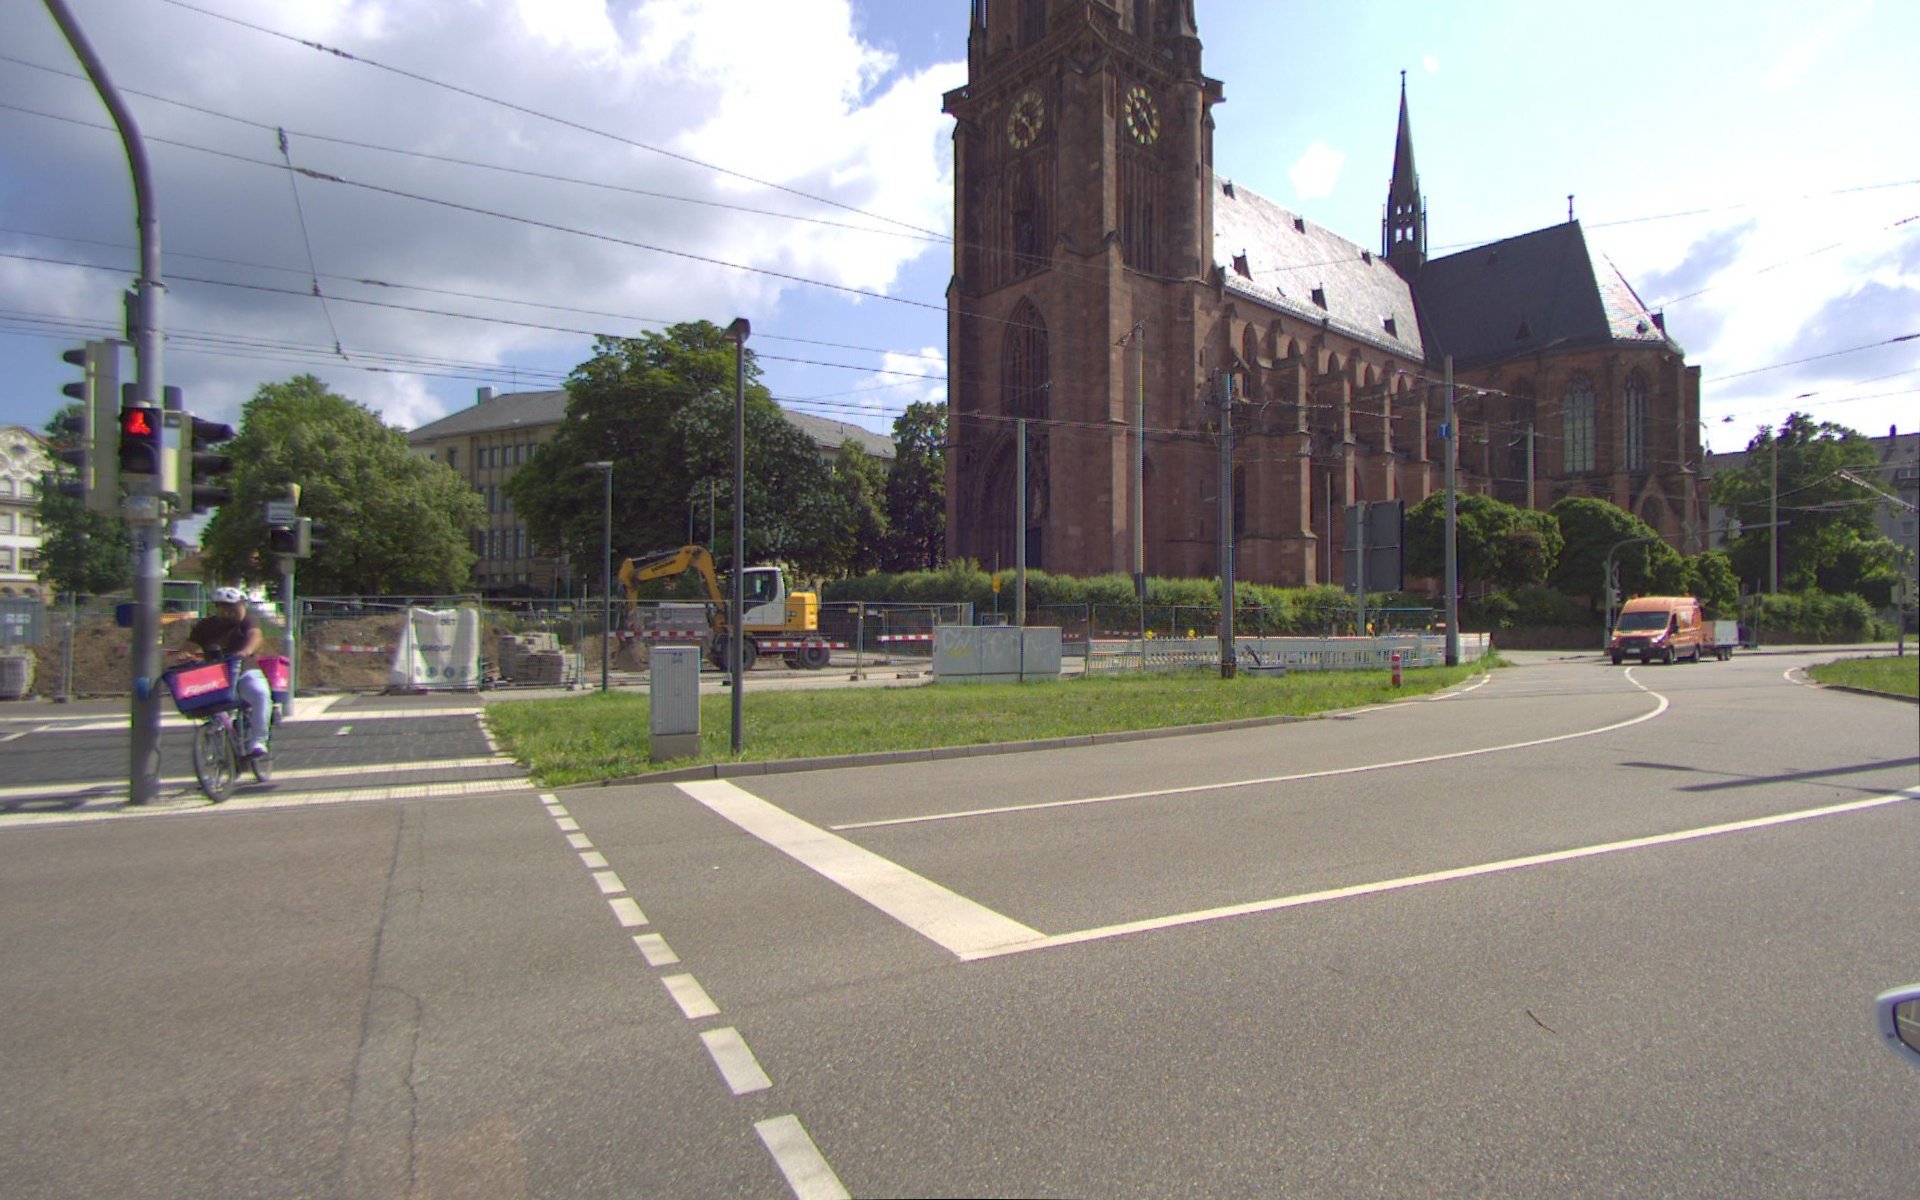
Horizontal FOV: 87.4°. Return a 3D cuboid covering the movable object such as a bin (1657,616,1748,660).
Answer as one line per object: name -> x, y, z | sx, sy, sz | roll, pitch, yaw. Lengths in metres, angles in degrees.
movable object such as a bin -> 33.162, 1.662, 44.856 | 3.679, 1.716, 2.192 | -2, 0, -35

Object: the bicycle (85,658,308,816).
bicycle -> -6.579, 1.114, 8.818 | 0.916, 1.141, 2.017 | 0, -1, -18

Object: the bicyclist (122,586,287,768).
bicyclist -> -6.503, 0.634, 8.716 | 0.812, 1.455, 1.088 | 0, -1, -18

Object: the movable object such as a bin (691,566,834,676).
movable object such as a bin -> -6.169, 0.606, 31.351 | 3.944, 3.147, 1.988 | -2, 0, -24

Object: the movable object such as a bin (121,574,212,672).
movable object such as a bin -> -25.863, 0.757, 32.895 | 1.980, 2.950, 5.105 | 1, -1, -35

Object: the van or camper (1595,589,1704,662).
van or camper -> 28.092, 1.035, 40.805 | 6.156, 2.774, 2.236 | 1, -2, -42
